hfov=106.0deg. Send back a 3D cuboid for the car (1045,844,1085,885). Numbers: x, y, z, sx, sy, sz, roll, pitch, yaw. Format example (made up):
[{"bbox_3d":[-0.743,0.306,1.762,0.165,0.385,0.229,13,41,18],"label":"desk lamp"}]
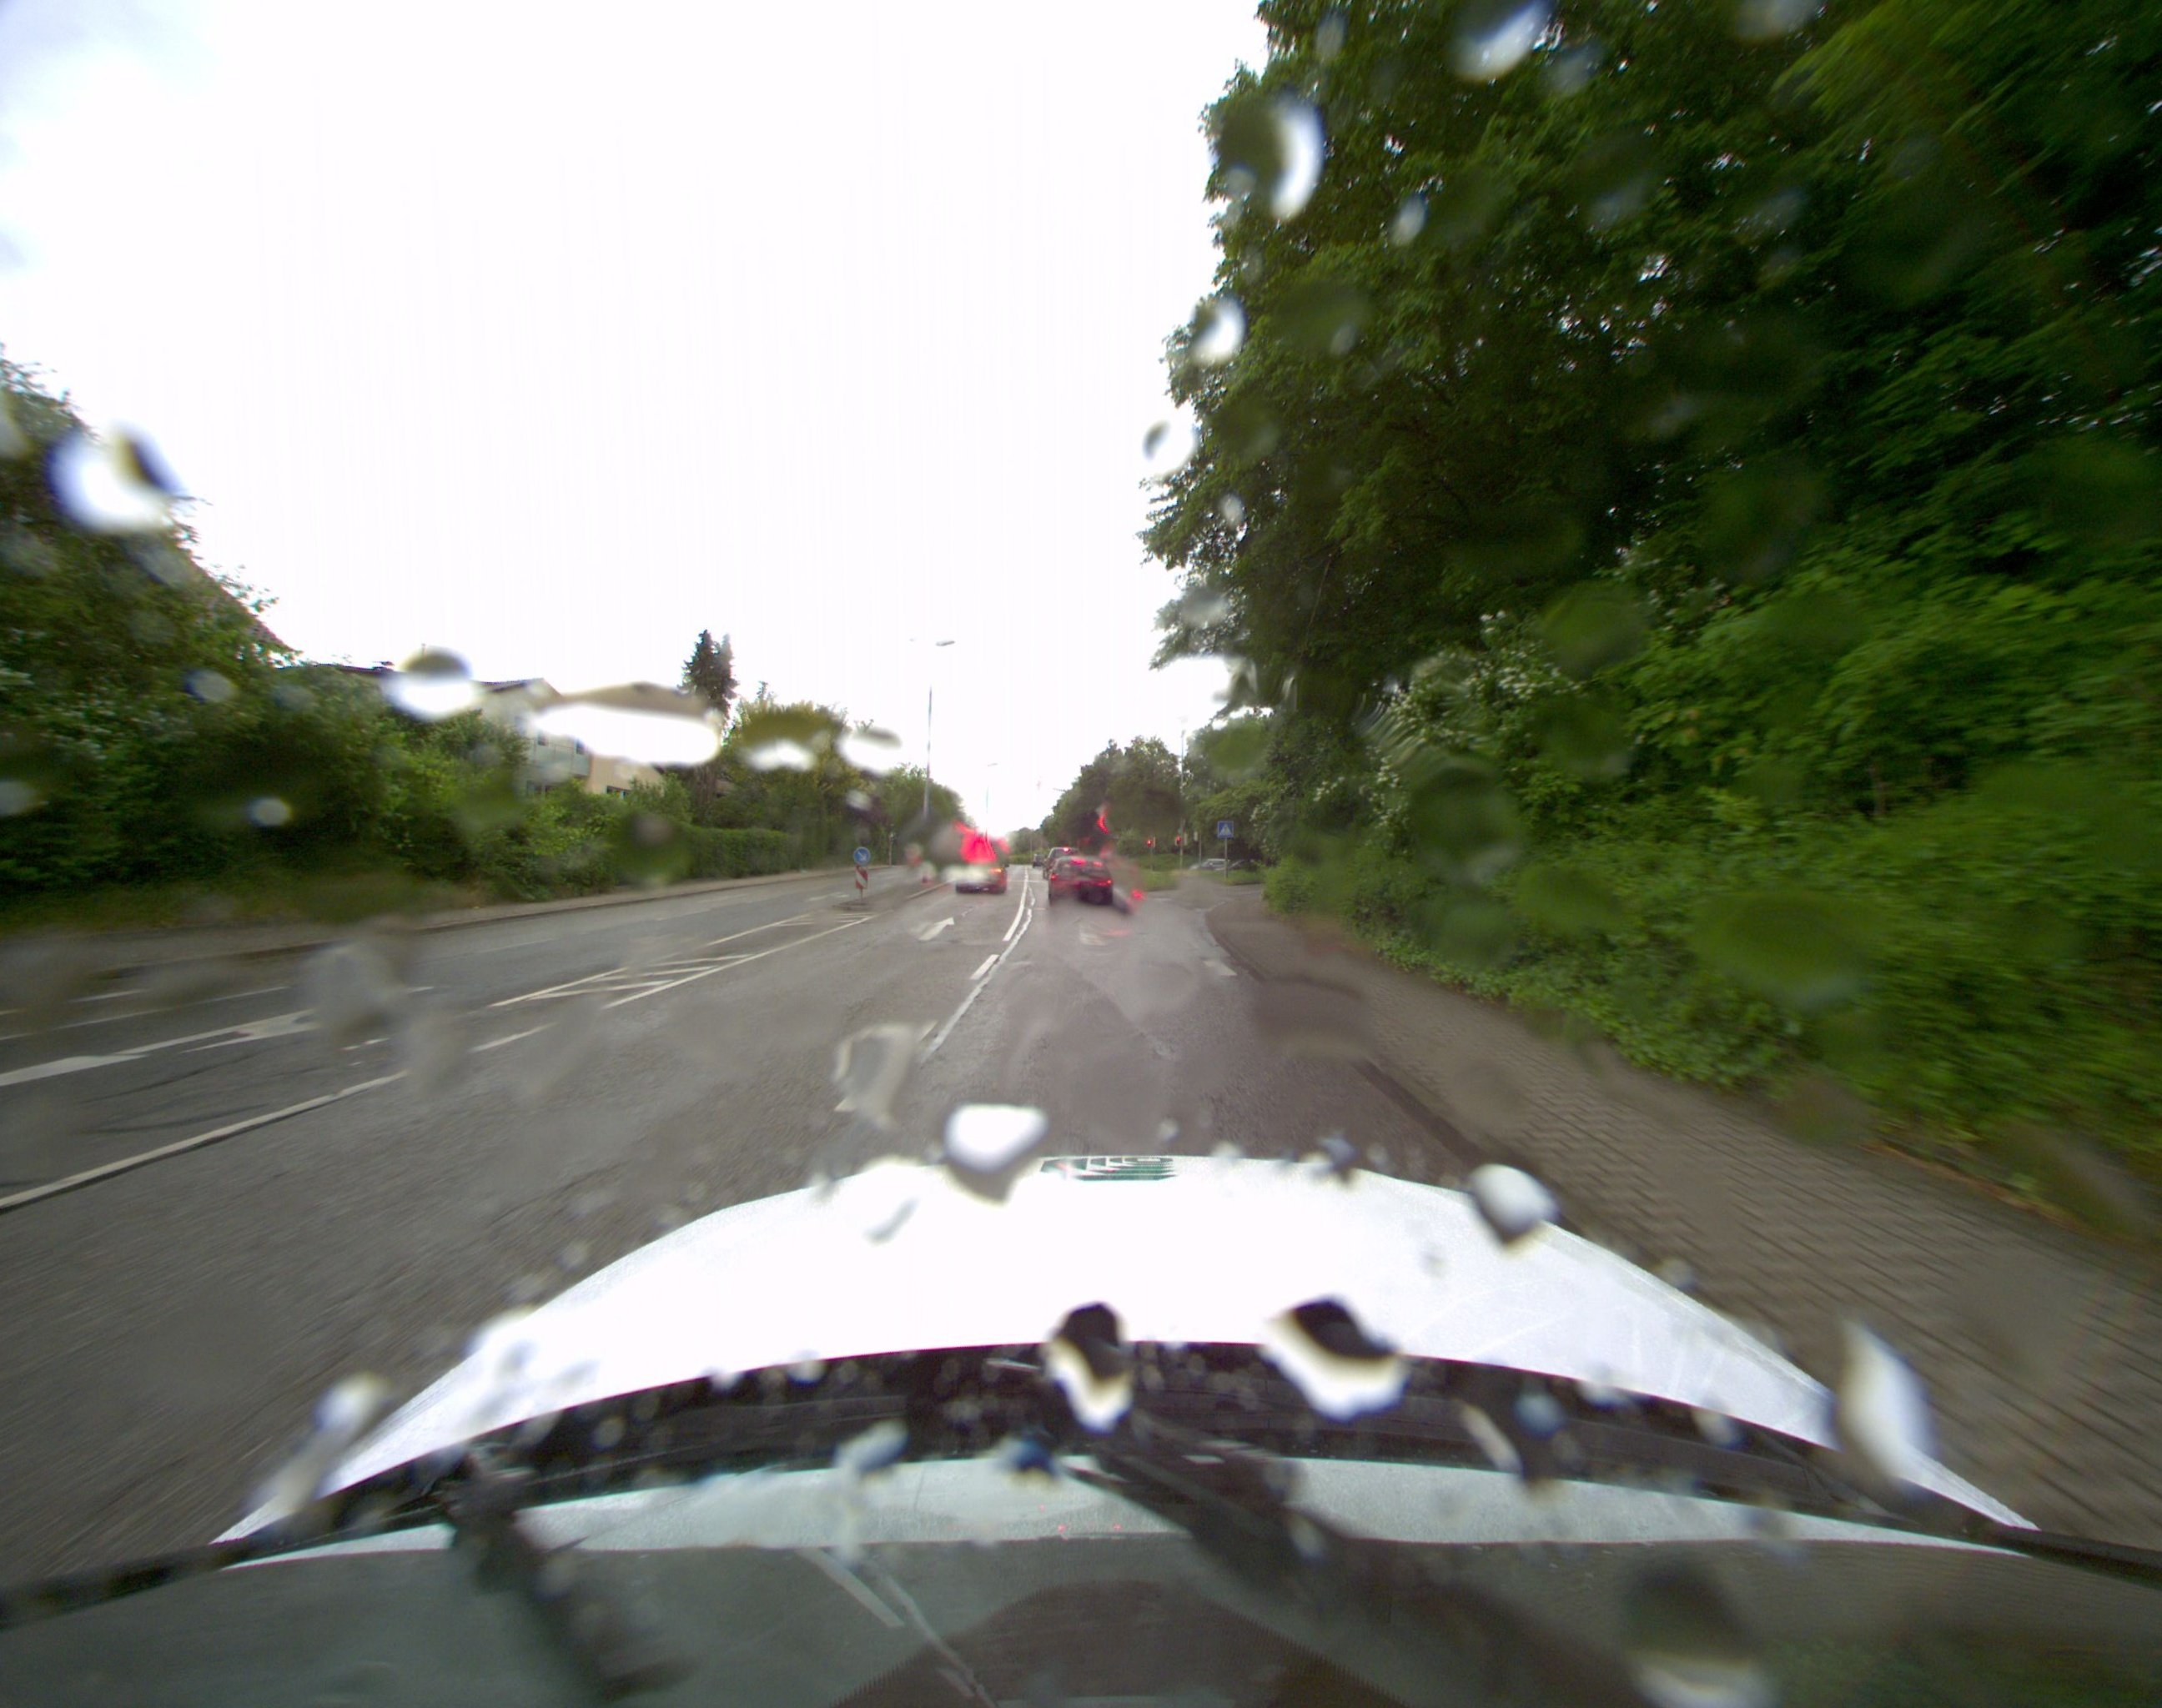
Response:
[{"bbox_3d":[-0.810,0.493,39.345,1.813,1.868,3.949,2,0,-2],"label":"car"}]

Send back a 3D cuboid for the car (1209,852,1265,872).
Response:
[{"bbox_3d":[12.244,0.634,63.959,3.978,1.509,1.899,0,0,-4],"label":"car"}]

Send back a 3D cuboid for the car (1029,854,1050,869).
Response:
[{"bbox_3d":[-4.579,0.795,89.497,1.991,1.624,3.944,-1,0,-6],"label":"car"}]

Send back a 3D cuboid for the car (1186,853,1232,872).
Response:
[{"bbox_3d":[10.574,0.672,67.316,3.495,1.427,1.701,-2,0,-4],"label":"car"}]

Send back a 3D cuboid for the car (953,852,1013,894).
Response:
[{"bbox_3d":[-3.802,0.705,32.200,1.989,1.527,4.323,-1,0,-2],"label":"car"}]

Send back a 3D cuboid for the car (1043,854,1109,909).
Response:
[{"bbox_3d":[-0.116,0.839,26.062,1.892,1.551,4.615,2,-1,1],"label":"car"}]
